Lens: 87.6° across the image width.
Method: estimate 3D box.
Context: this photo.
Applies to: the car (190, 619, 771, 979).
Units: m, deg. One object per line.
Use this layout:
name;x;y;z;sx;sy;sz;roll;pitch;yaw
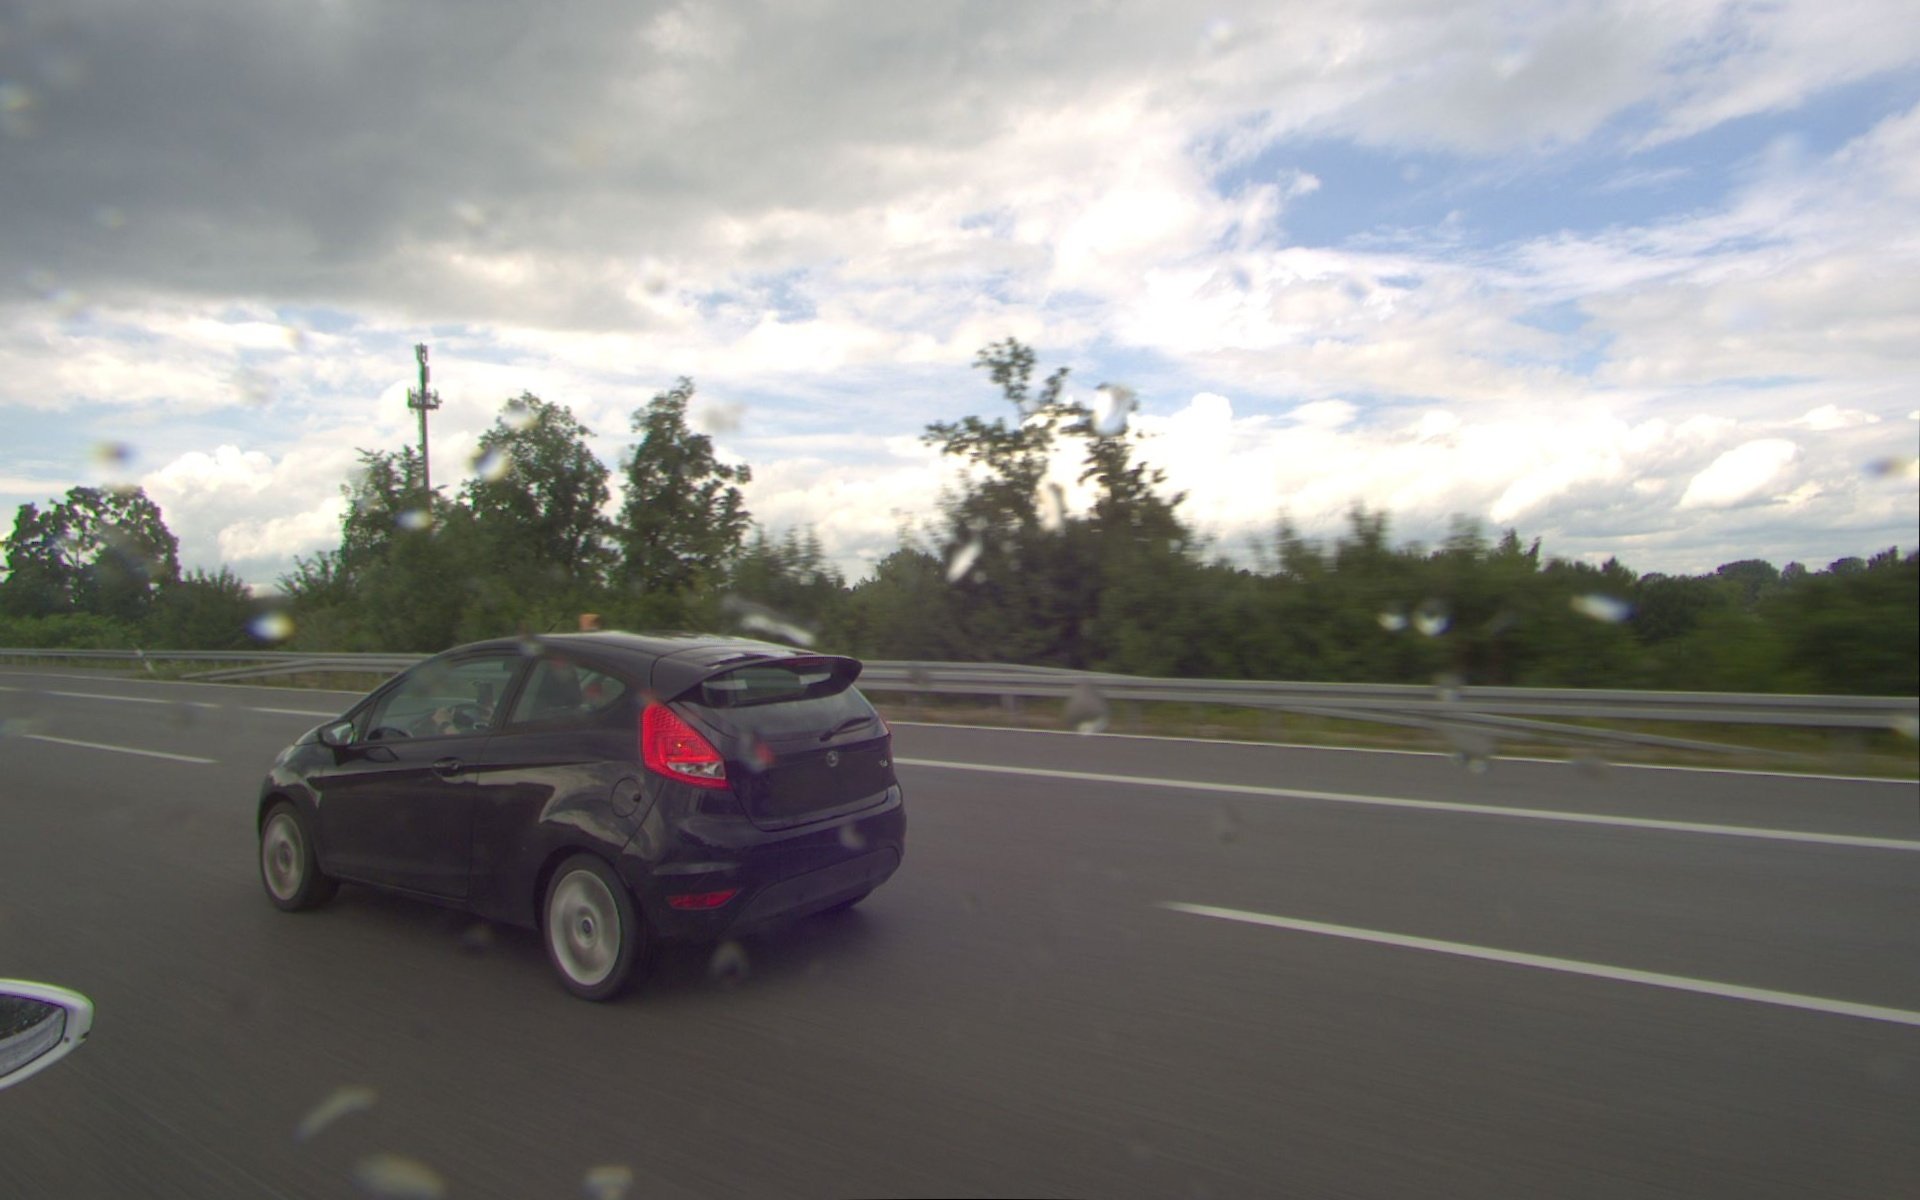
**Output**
car;-2.695;0.850;5.508;3.118;1.460;1.444;-1;-1;32
